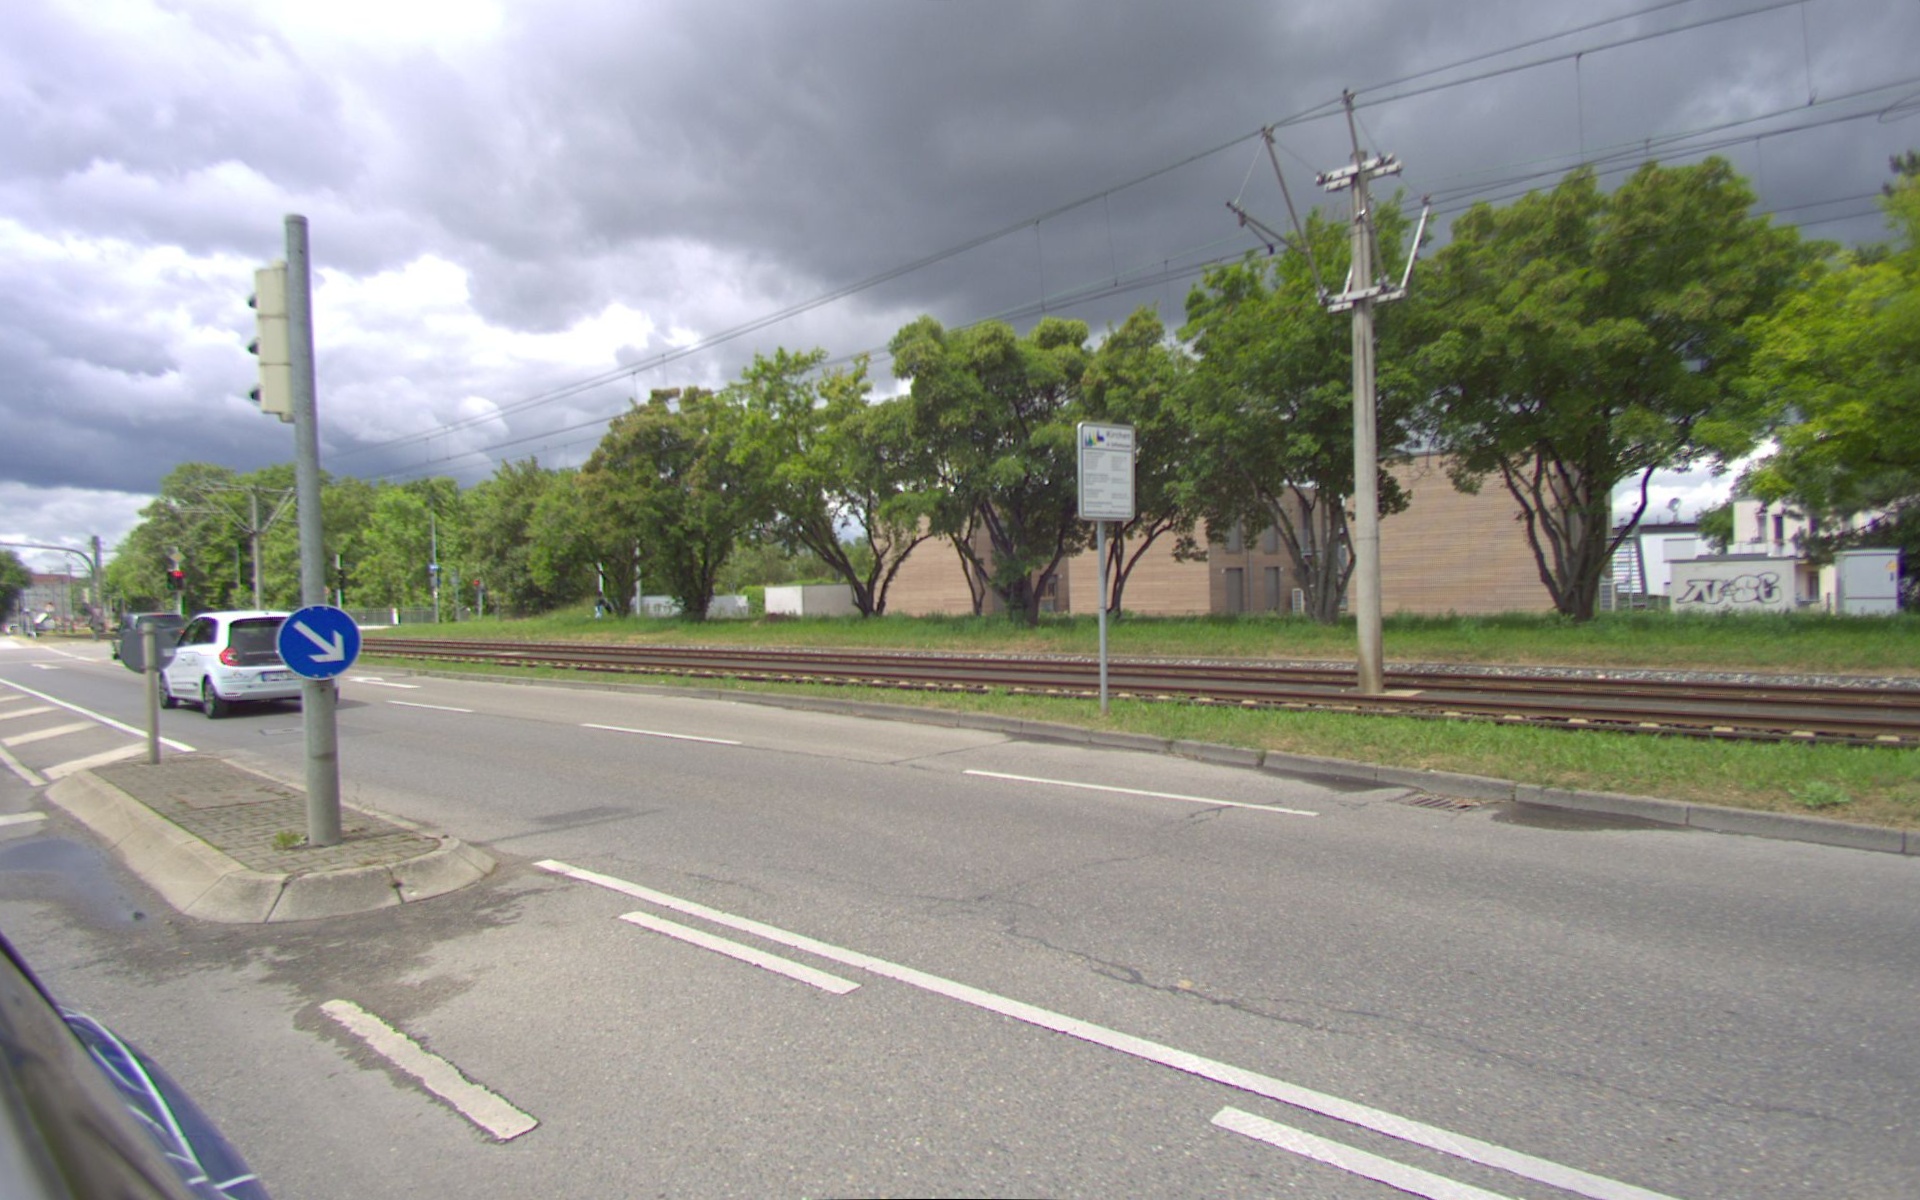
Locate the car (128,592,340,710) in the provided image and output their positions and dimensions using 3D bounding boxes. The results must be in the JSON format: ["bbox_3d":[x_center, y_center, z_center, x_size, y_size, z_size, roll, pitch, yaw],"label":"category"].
[{"bbox_3d":[-11.560,0.733,16.019,4.260,1.624,1.711,-1,-1,40],"label":"car"}]

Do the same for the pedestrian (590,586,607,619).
[{"bbox_3d":[-19.232,0.117,53.856,0.487,1.736,0.797,-1,1,9],"label":"pedestrian"}]

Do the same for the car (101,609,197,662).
[{"bbox_3d":[-28.666,1.195,35.739,4.522,1.672,1.972,0,2,43],"label":"car"}]

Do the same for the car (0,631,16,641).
[{"bbox_3d":[-140.106,5.269,148.768,1.765,1.358,4.855,-3,2,-45],"label":"car"}]
